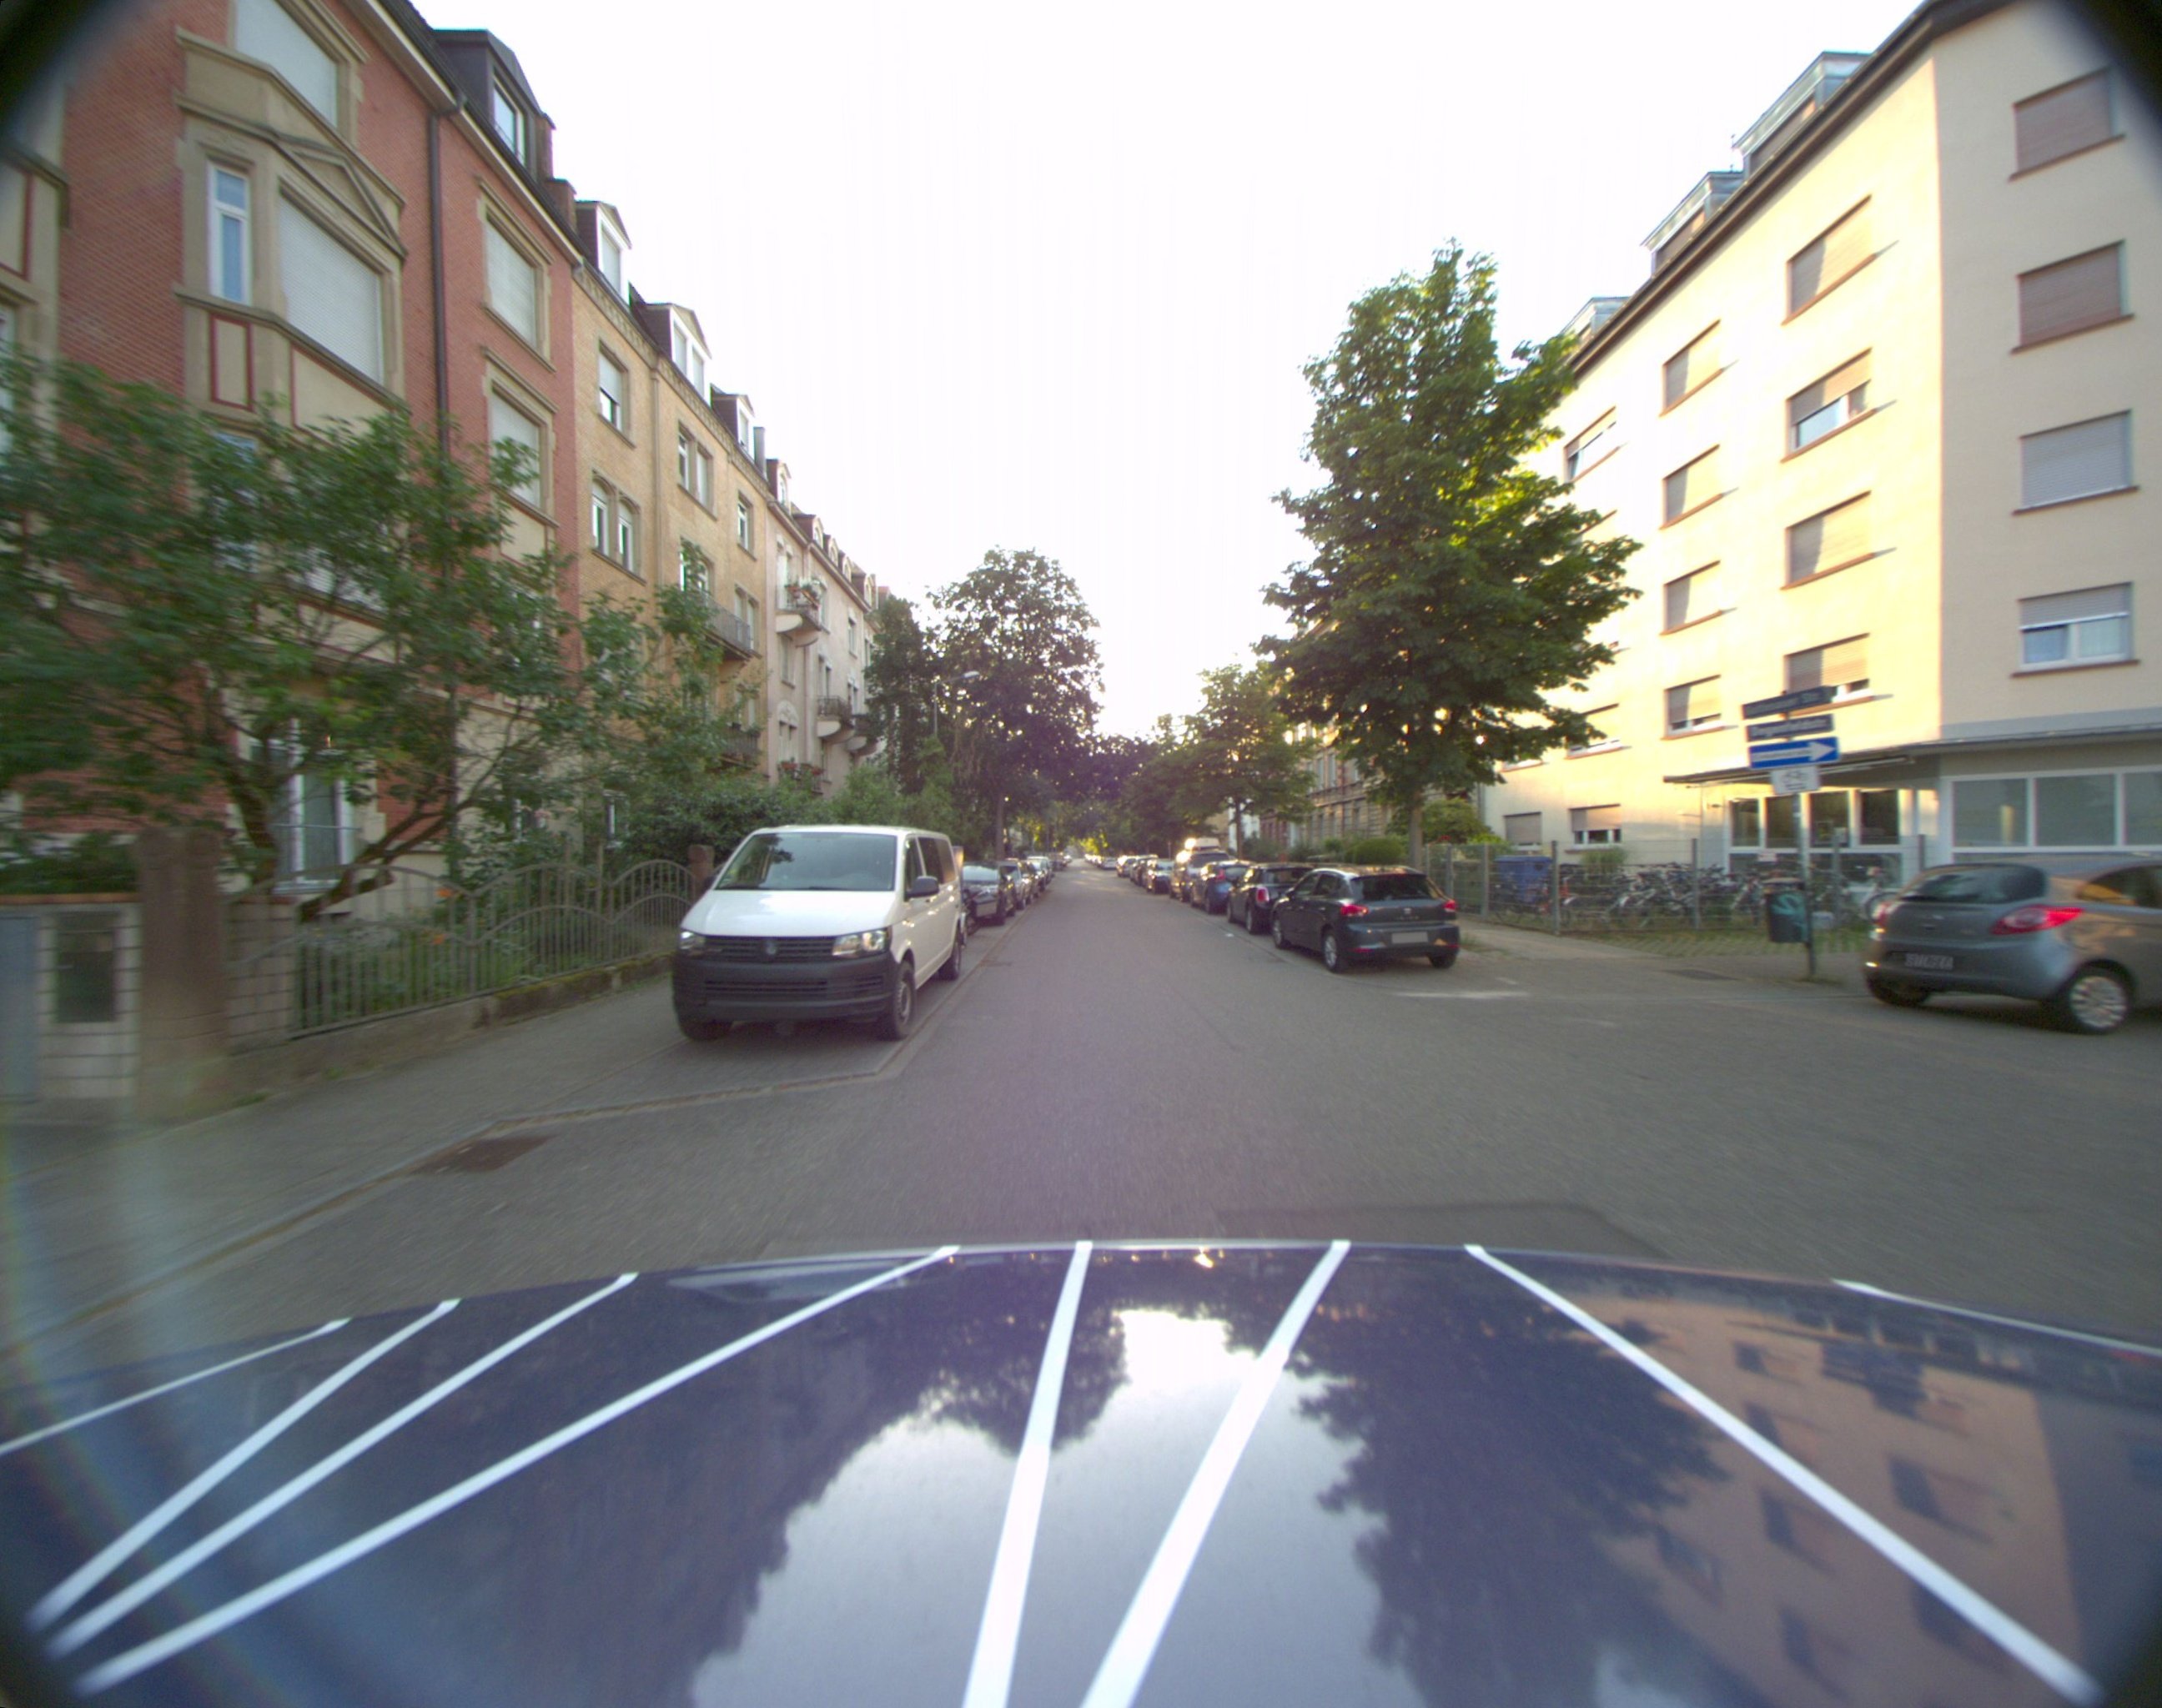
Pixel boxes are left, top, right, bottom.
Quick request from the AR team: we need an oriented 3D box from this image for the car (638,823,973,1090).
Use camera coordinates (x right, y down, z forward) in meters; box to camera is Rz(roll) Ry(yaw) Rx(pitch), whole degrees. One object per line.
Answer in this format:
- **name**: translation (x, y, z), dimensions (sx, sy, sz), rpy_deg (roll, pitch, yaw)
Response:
- **car**: translation (-2.497, 0.772, 8.577), dimensions (1.866, 2.027, 5.543), rpy_deg (1, 0, -1)

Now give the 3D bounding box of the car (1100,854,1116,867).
- **car**: translation (3.442, 0.832, 98.360), dimensions (1.840, 1.484, 3.641), rpy_deg (-2, 1, -1)

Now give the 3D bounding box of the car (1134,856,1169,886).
- **car**: translation (3.859, 0.912, 42.241), dimensions (1.682, 1.490, 3.625), rpy_deg (-2, 1, 2)

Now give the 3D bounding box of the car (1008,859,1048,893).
- **car**: translation (-2.544, 1.022, 37.209), dimensions (1.737, 1.498, 4.163), rpy_deg (-2, 1, -2)

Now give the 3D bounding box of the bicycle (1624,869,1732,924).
- **bicycle**: translation (12.347, 0.856, 15.769), dimensions (0.386, 1.086, 1.707), rpy_deg (-3, 1, -37)

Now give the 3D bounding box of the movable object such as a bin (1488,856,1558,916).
- **movable object such as a bin**: translation (10.713, 0.745, 18.458), dimensions (0.868, 1.344, 1.398), rpy_deg (-2, 1, 1)

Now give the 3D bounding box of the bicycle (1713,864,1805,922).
- **bicycle**: translation (13.969, 0.790, 15.667), dimensions (1.548, 1.086, 0.500), rpy_deg (-2, 1, -6)

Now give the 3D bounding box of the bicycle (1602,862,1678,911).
- **bicycle**: translation (13.597, 0.781, 18.492), dimensions (1.548, 1.086, 0.500), rpy_deg (-2, 1, -6)

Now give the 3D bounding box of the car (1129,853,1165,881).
- **car**: translation (4.081, 0.774, 47.488), dimensions (1.866, 1.653, 4.021), rpy_deg (-2, 1, 0)

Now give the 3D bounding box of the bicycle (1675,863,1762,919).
- **bicycle**: translation (13.799, 0.792, 16.462), dimensions (1.548, 1.134, 0.500), rpy_deg (-2, 1, -6)

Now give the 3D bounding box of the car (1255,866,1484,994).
- **car**: translation (4.138, 0.986, 11.759), dimensions (1.679, 1.453, 4.462), rpy_deg (-2, 0, -2)

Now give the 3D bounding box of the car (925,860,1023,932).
- **car**: translation (-2.625, 0.990, 19.594), dimensions (1.724, 1.542, 4.325), rpy_deg (-2, 1, 2)

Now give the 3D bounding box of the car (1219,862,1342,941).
- **car**: translation (4.269, 0.942, 16.869), dimensions (1.746, 1.412, 4.142), rpy_deg (-2, 0, 2)

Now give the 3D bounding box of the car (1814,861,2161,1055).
- **car**: translation (9.525, 0.855, 7.131), dimensions (3.515, 1.499, 1.845), rpy_deg (-1, 0, -1)

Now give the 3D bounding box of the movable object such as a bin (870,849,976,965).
- **movable object such as a bin**: translation (-2.742, 0.859, 13.582), dimensions (1.415, 1.867, 2.324), rpy_deg (1, 1, -1)

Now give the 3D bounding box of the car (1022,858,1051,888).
- **car**: translation (-2.470, 1.007, 42.430), dimensions (1.479, 1.498, 3.928), rpy_deg (-2, 1, -2)

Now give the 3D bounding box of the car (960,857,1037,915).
- **car**: translation (-2.568, 0.960, 24.847), dimensions (1.761, 1.573, 4.842), rpy_deg (-2, 0, 2)

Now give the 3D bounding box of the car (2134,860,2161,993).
- **car**: translation (14.046, 0.763, 7.451), dimensions (4.066, 1.500, 1.975), rpy_deg (-2, 1, 12)

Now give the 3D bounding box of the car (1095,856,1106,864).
- **car**: translation (3.549, 1.124, 141.614), dimensions (1.840, 1.484, 3.641), rpy_deg (-2, 1, -1)

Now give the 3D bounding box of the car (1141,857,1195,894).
- **car**: translation (3.756, 0.906, 33.272), dimensions (1.733, 1.433, 4.023), rpy_deg (-2, 1, -2)

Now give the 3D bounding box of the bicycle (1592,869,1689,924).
- **bicycle**: translation (11.681, 0.866, 15.898), dimensions (0.502, 1.086, 1.545), rpy_deg (-3, 1, -38)

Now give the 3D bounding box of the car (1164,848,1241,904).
- **car**: translation (4.208, 0.692, 27.028), dimensions (1.866, 1.769, 4.622), rpy_deg (-2, 1, -1)

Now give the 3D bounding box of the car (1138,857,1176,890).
- **car**: translation (3.774, 0.935, 37.989), dimensions (1.441, 1.485, 3.297), rpy_deg (-2, 1, -2)

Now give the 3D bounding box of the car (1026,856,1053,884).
- **car**: translation (-2.533, 0.954, 46.825), dimensions (1.502, 1.538, 3.338), rpy_deg (-2, 1, -2)

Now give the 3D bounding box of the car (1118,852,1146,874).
- **car**: translation (3.921, 0.684, 59.044), dimensions (1.677, 1.627, 3.939), rpy_deg (-2, 1, -3)

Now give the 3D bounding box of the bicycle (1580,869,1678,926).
- **bicycle**: translation (11.236, 0.866, 15.623), dimensions (0.502, 1.086, 1.545), rpy_deg (-3, 1, -38)

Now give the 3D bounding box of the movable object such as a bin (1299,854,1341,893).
- **movable object such as a bin**: translation (8.974, 0.708, 28.573), dimensions (0.948, 1.379, 1.551), rpy_deg (-2, 1, -4)

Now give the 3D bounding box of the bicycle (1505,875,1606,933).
- **bicycle**: translation (9.672, 0.990, 15.580), dimensions (0.689, 1.020, 1.931), rpy_deg (-2, 1, -6)

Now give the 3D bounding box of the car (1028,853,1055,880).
- **car**: translation (-2.659, 0.839, 52.443), dimensions (1.737, 1.692, 4.167), rpy_deg (-2, 1, -2)

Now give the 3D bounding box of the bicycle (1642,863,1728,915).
- **bicycle**: translation (13.739, 0.788, 17.287), dimensions (1.635, 1.086, 0.500), rpy_deg (-2, 1, -6)

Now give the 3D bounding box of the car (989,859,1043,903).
- **car**: translation (-2.458, 0.992, 29.345), dimensions (1.590, 1.516, 3.602), rpy_deg (-2, 1, 2)

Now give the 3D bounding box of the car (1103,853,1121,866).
- **car**: translation (3.801, 0.662, 92.719), dimensions (1.953, 1.484, 3.737), rpy_deg (-2, 1, -1)

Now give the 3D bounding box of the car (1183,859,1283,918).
- **car**: translation (4.247, 0.911, 22.024), dimensions (1.866, 1.404, 4.589), rpy_deg (-2, 0, -1)

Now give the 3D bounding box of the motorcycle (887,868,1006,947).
- **motorcycle**: translation (-2.736, 1.038, 15.525), dimensions (2.099, 1.474, 1.130), rpy_deg (0, 1, -34)

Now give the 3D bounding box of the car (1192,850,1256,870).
- **car**: translation (10.642, 0.456, 56.677), dimensions (4.413, 1.333, 1.625), rpy_deg (-2, 1, 1)
